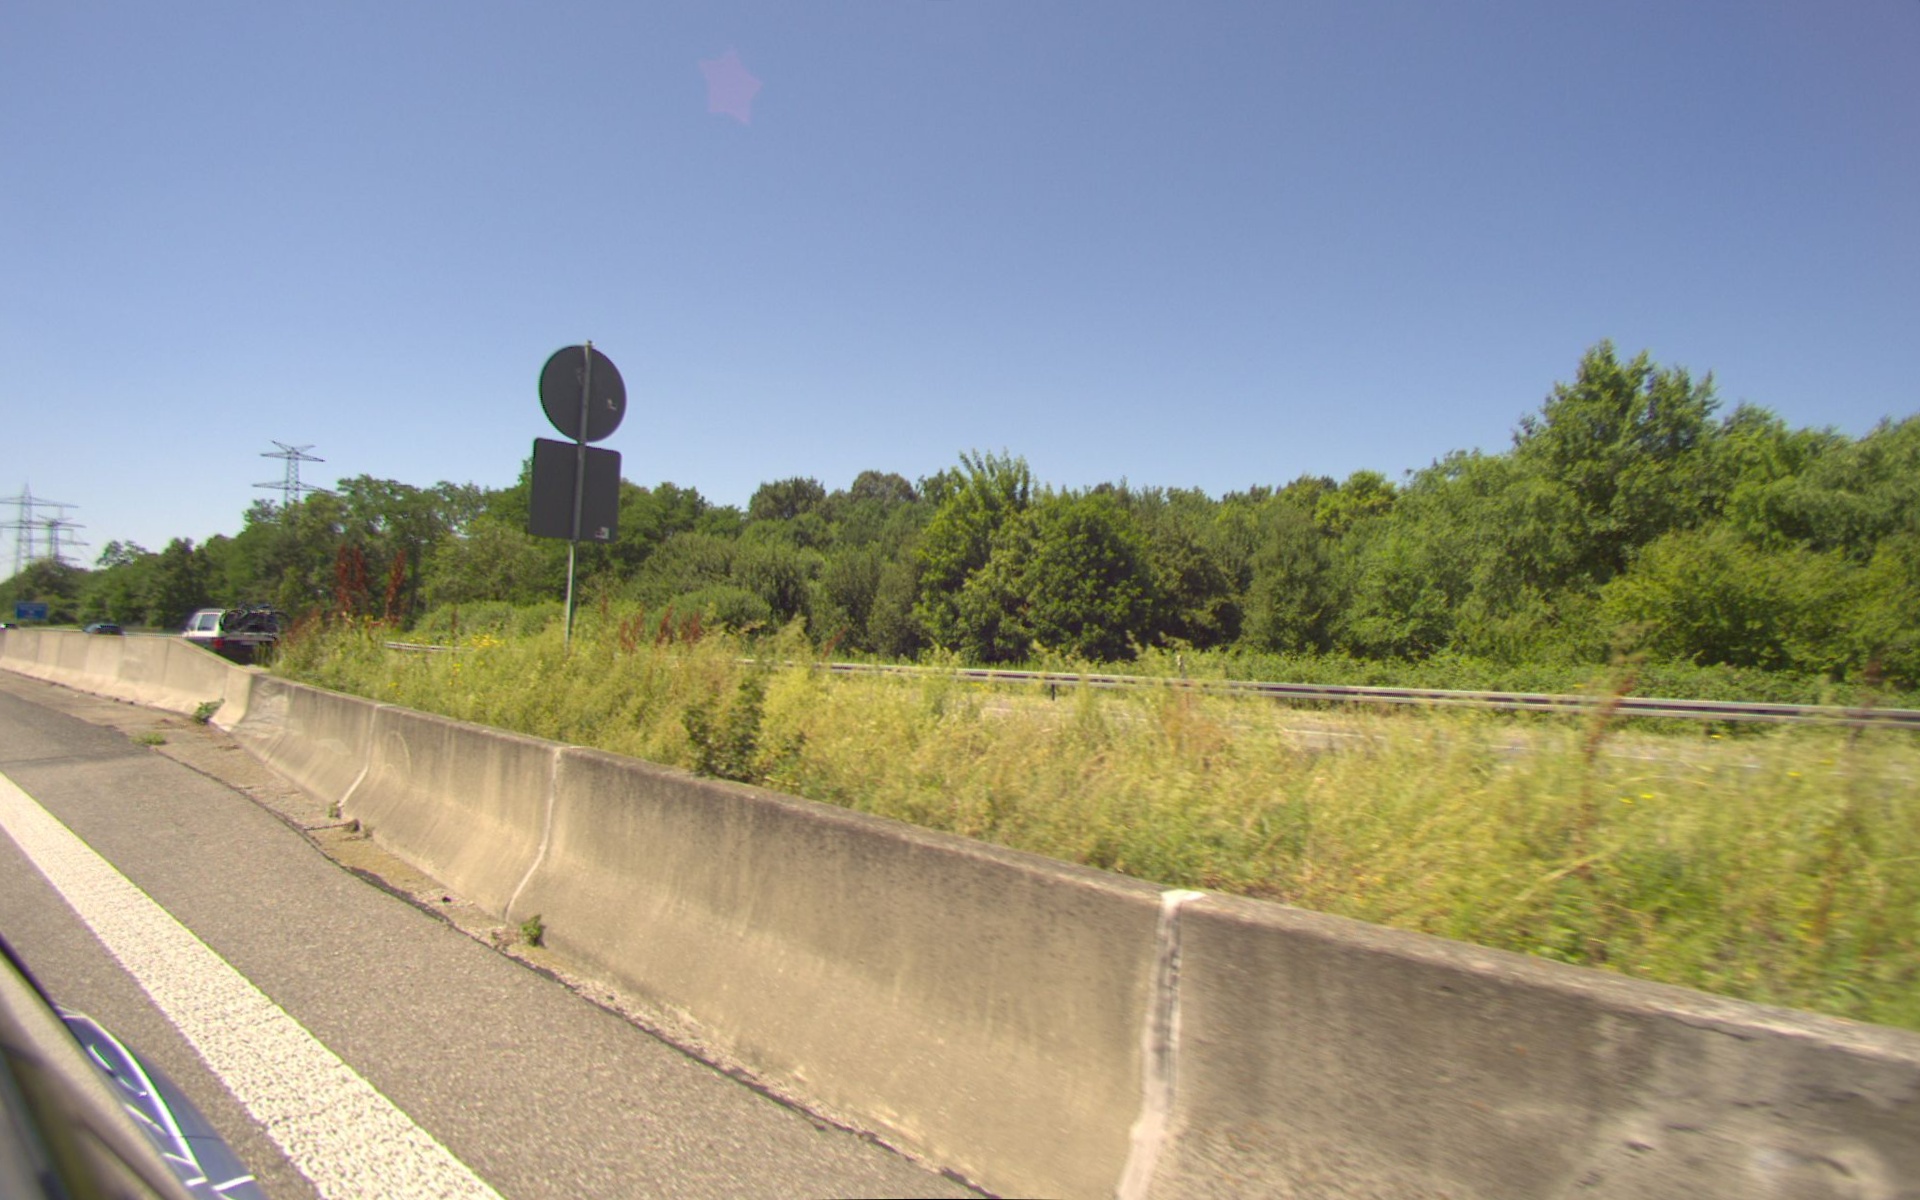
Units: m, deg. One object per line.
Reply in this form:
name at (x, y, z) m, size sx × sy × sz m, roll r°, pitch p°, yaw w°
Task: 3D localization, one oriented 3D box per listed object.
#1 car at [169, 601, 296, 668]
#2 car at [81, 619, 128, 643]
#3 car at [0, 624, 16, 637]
car at (-24.148, 1.143, 33.474) m, size 6.219 × 2.029 × 1.973 m, roll -1°, pitch -4°, yaw 41°
car at (-56.543, 2.037, 66.883) m, size 3.998 × 1.483 × 1.751 m, roll -1°, pitch -3°, yaw 41°
car at (-116.743, 3.677, 123.351) m, size 4.822 × 1.490 × 1.888 m, roll -1°, pitch -4°, yaw 41°
